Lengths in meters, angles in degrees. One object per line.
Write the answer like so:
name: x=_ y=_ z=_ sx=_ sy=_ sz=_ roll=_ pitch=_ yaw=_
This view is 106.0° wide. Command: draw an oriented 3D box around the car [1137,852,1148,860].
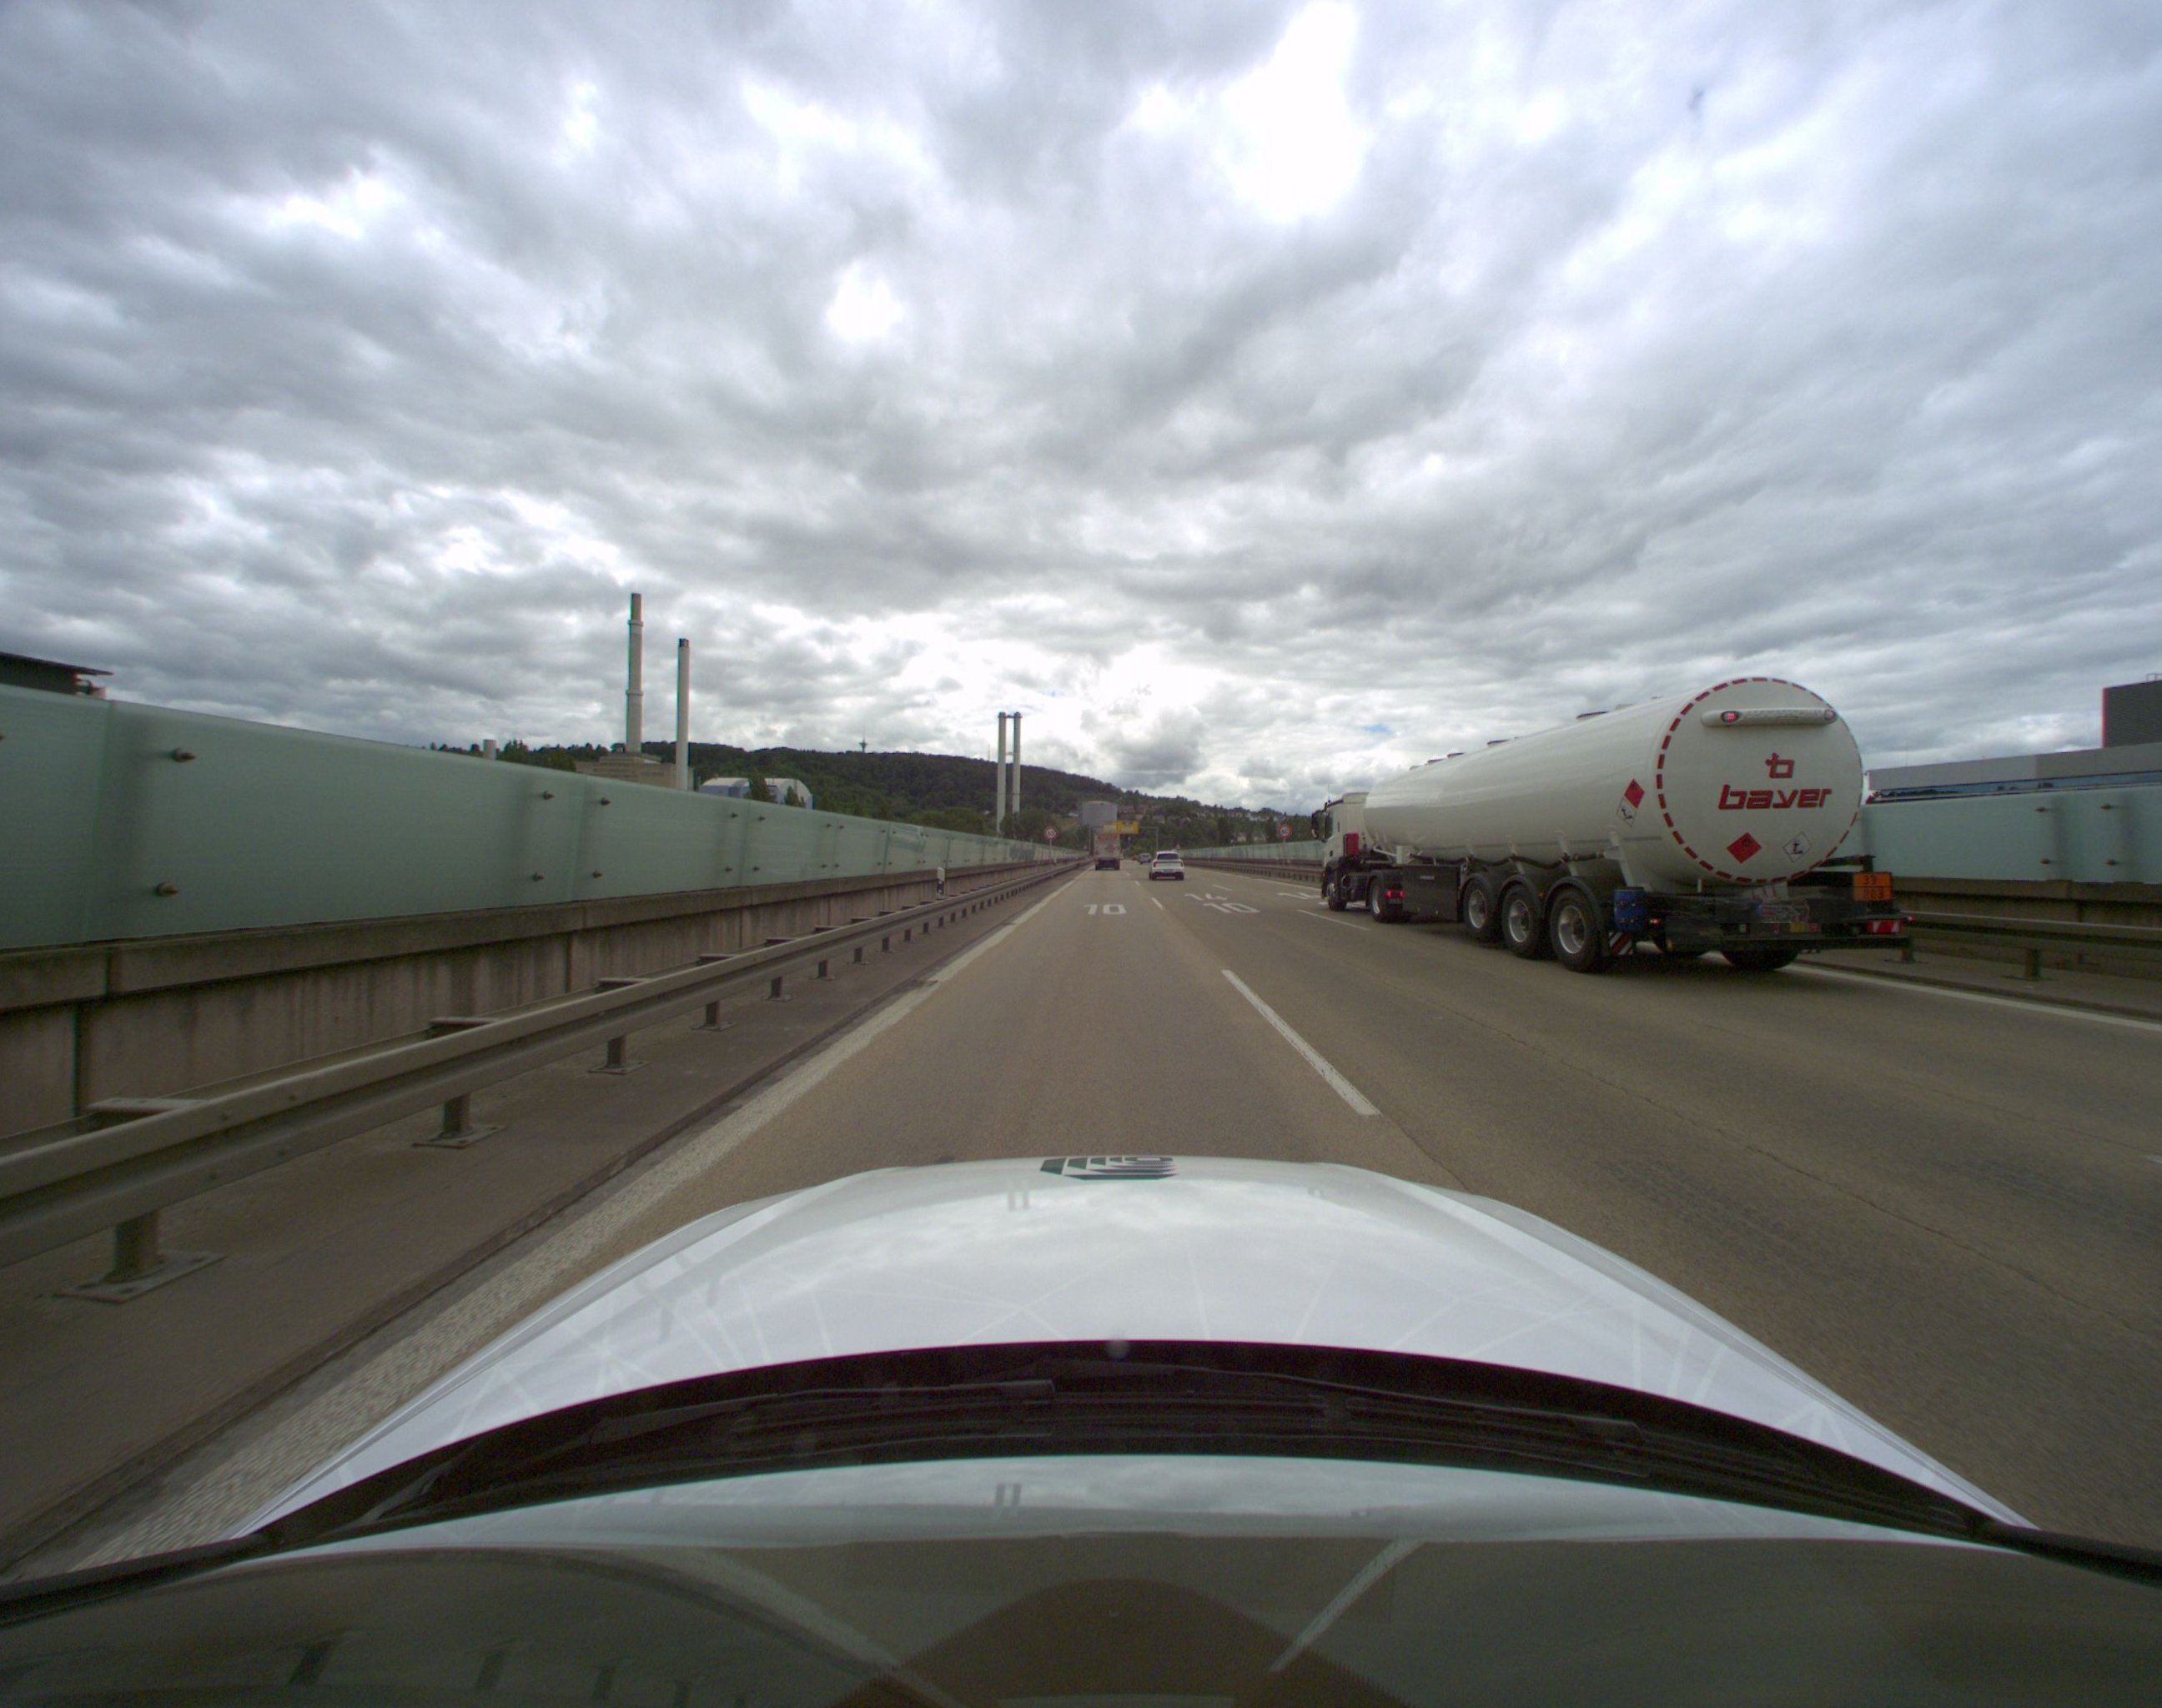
car: x=11.763 y=0.379 z=155.602 sx=1.914 sy=1.434 sz=4.119 roll=0 pitch=0 yaw=5

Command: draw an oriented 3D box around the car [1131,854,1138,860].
car: x=15.796 y=0.913 z=239.771 sx=1.916 sy=1.785 sz=4.116 roll=0 pitch=0 yaw=3

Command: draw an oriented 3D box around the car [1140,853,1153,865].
car: x=10.299 y=0.801 z=128.800 sx=1.916 sy=1.785 sz=4.116 roll=0 pitch=0 yaw=3

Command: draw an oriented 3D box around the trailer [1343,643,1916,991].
trailer: x=7.399 y=-0.352 z=13.941 sx=2.640 sy=3.543 sz=11.226 roll=-1 pitch=0 yaw=2

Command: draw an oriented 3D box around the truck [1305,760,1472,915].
truck: x=7.698 y=-0.376 z=21.070 sx=2.620 sy=3.514 sz=4.907 roll=-1 pitch=0 yaw=2

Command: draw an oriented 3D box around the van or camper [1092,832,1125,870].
van or camper: x=2.819 y=-0.253 z=81.093 sx=3.109 sy=3.579 sz=8.557 roll=-1 pitch=0 yaw=3

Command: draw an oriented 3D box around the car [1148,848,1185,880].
car: x=4.999 y=0.541 z=47.971 sx=1.916 sy=1.785 sz=4.116 roll=0 pitch=0 yaw=3
